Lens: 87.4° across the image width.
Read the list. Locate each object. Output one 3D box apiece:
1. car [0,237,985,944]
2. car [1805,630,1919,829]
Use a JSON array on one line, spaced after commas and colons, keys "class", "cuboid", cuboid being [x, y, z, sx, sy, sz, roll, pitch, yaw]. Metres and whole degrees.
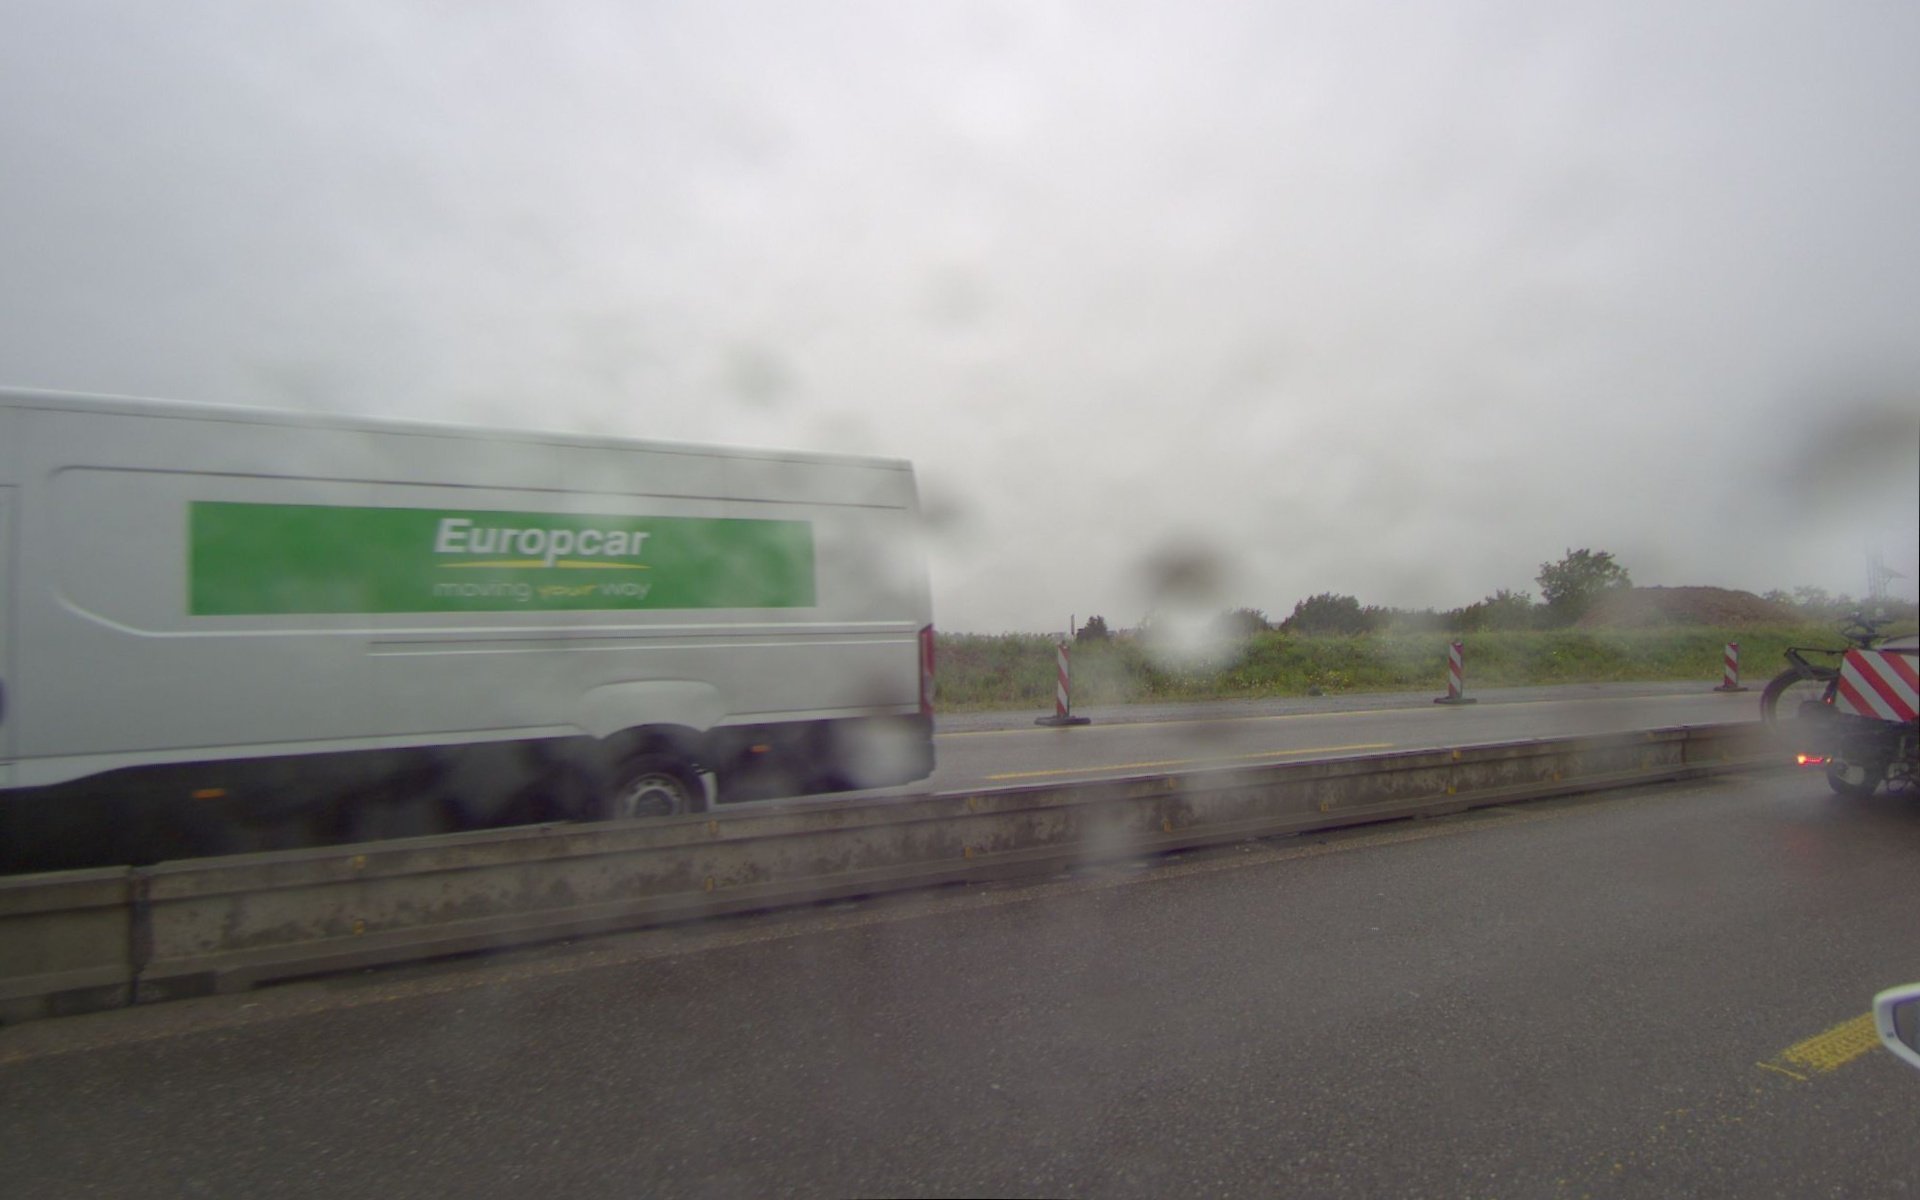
[{"class": "car", "cuboid": [-3.393, -0.010, 6.017, 7.087, 3.086, 1.984, 1, 0, -31]}, {"class": "car", "cuboid": [9.943, 1.022, 9.073, 5.561, 1.482, 1.727, 0, 0, -30]}]
